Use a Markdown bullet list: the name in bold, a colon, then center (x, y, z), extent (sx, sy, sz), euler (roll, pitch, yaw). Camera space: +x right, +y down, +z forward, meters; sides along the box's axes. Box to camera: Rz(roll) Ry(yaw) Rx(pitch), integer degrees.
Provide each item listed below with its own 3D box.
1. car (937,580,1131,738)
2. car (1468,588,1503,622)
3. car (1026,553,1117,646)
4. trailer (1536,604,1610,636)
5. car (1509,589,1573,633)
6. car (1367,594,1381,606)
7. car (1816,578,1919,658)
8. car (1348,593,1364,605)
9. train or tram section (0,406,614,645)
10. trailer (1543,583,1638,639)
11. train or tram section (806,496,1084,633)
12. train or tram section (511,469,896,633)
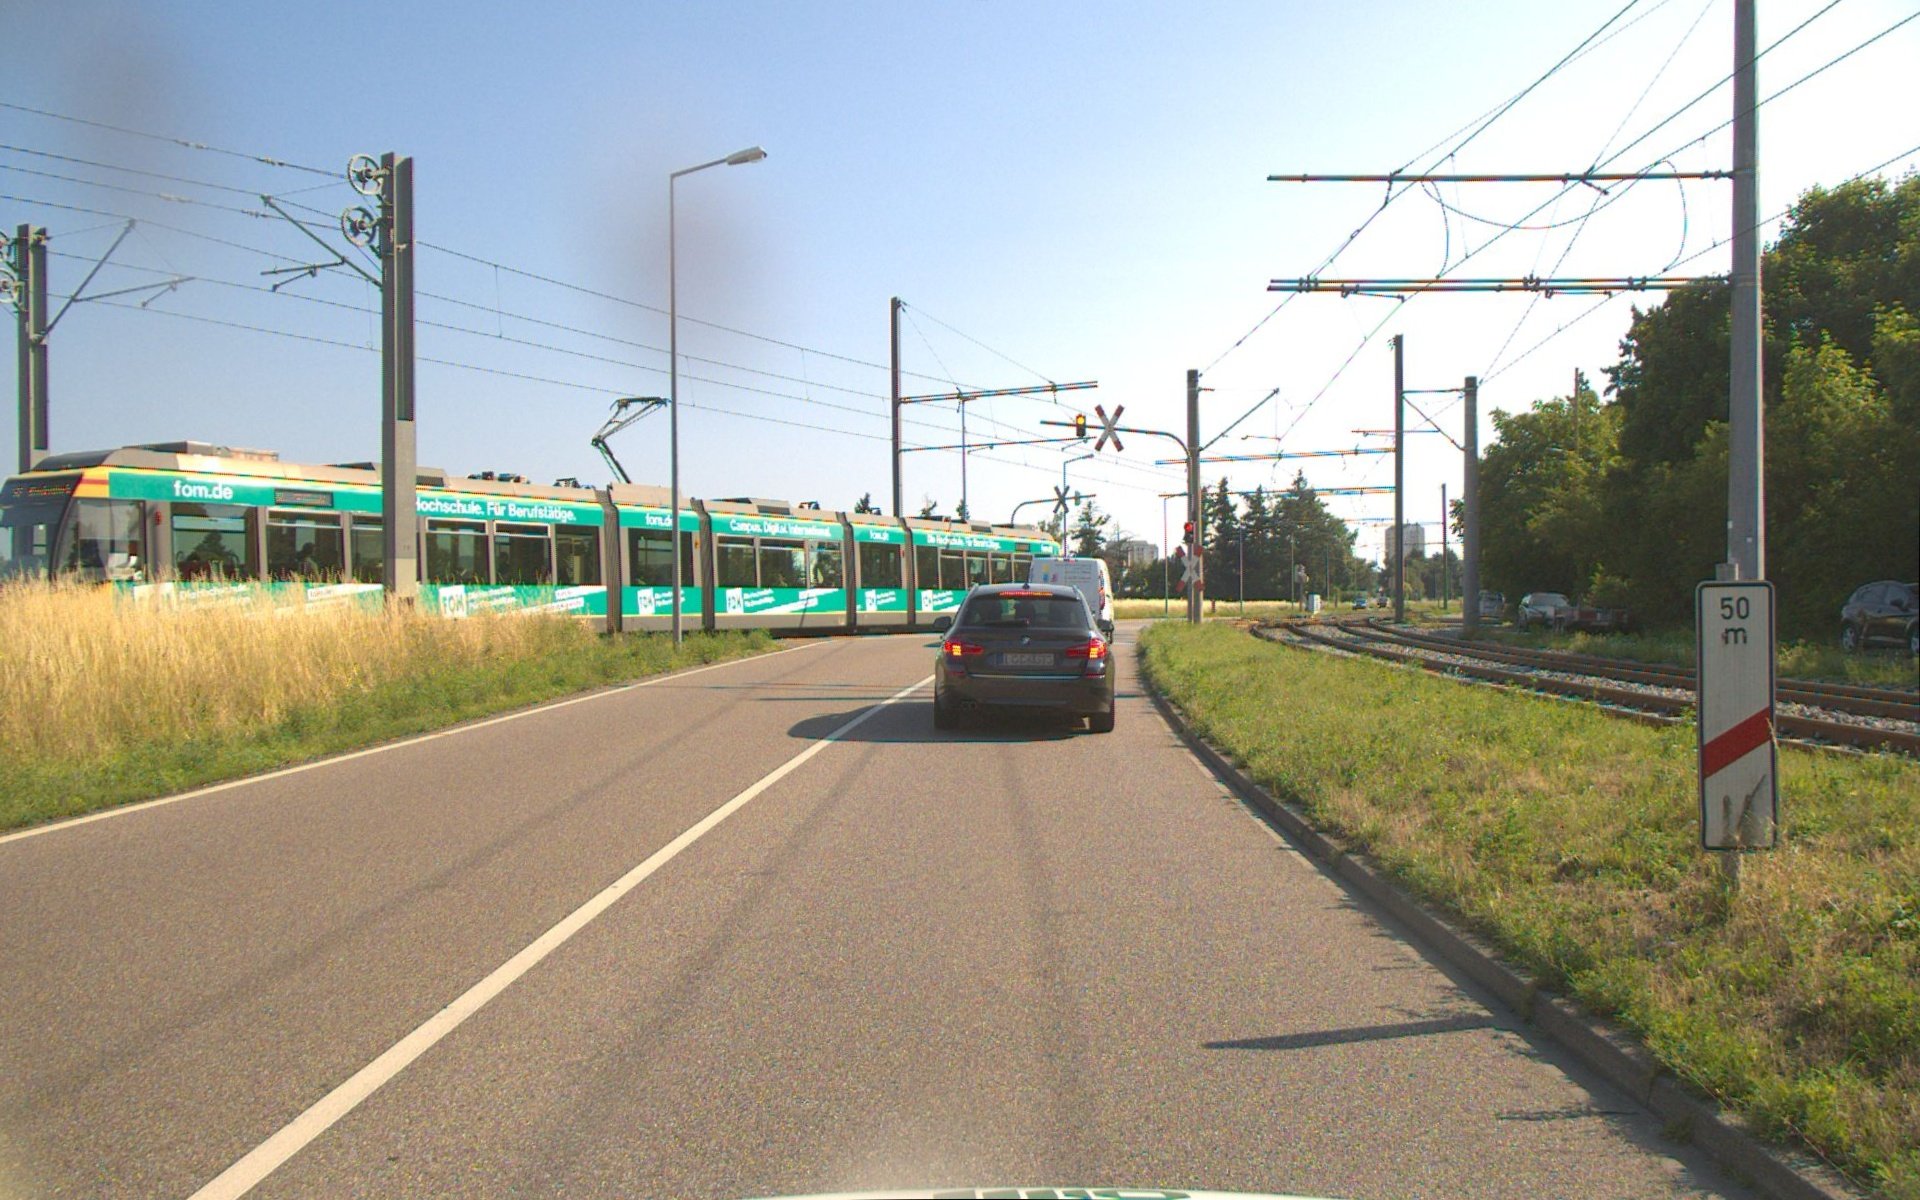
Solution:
- **car**: center (0.792, 0.531, 18.045), extent (1.830, 1.478, 4.745), euler (0, 1, 2)
- **car**: center (34.437, 0.327, 108.321), extent (1.952, 2.039, 5.069), euler (3, 0, 19)
- **car**: center (2.693, -0.027, 38.851), extent (1.818, 2.023, 5.112), euler (1, 0, 7)
- **trailer**: center (20.859, 0.652, 56.400), extent (1.694, 0.956, 3.731), euler (3, 0, 11)
- **car**: center (21.432, 0.389, 61.145), extent (1.662, 1.482, 4.885), euler (2, 1, 13)
- **car**: center (61.254, -0.012, 244.605), extent (1.670, 1.694, 4.592), euler (0, 0, 18)
- **car**: center (18.142, 0.336, 31.397), extent (1.589, 1.435, 4.523), euler (1, 0, 2)
- **car**: center (51.196, -0.141, 213.787), extent (1.658, 1.465, 4.285), euler (1, 0, 19)
- **train or tram section**: center (-11.516, -1.085, 30.600), extent (2.894, 3.545, 12.148), euler (1, 0, 28)
- **trailer**: center (19.930, 0.336, 52.457), extent (1.983, 1.624, 4.263), euler (2, 0, 10)
- **train or tram section**: center (0.000, -0.891, 53.318), extent (2.850, 3.631, 14.245), euler (1, -1, 26)
- **train or tram section**: center (-5.887, -0.975, 41.468), extent (2.861, 3.514, 12.149), euler (1, -1, 27)
